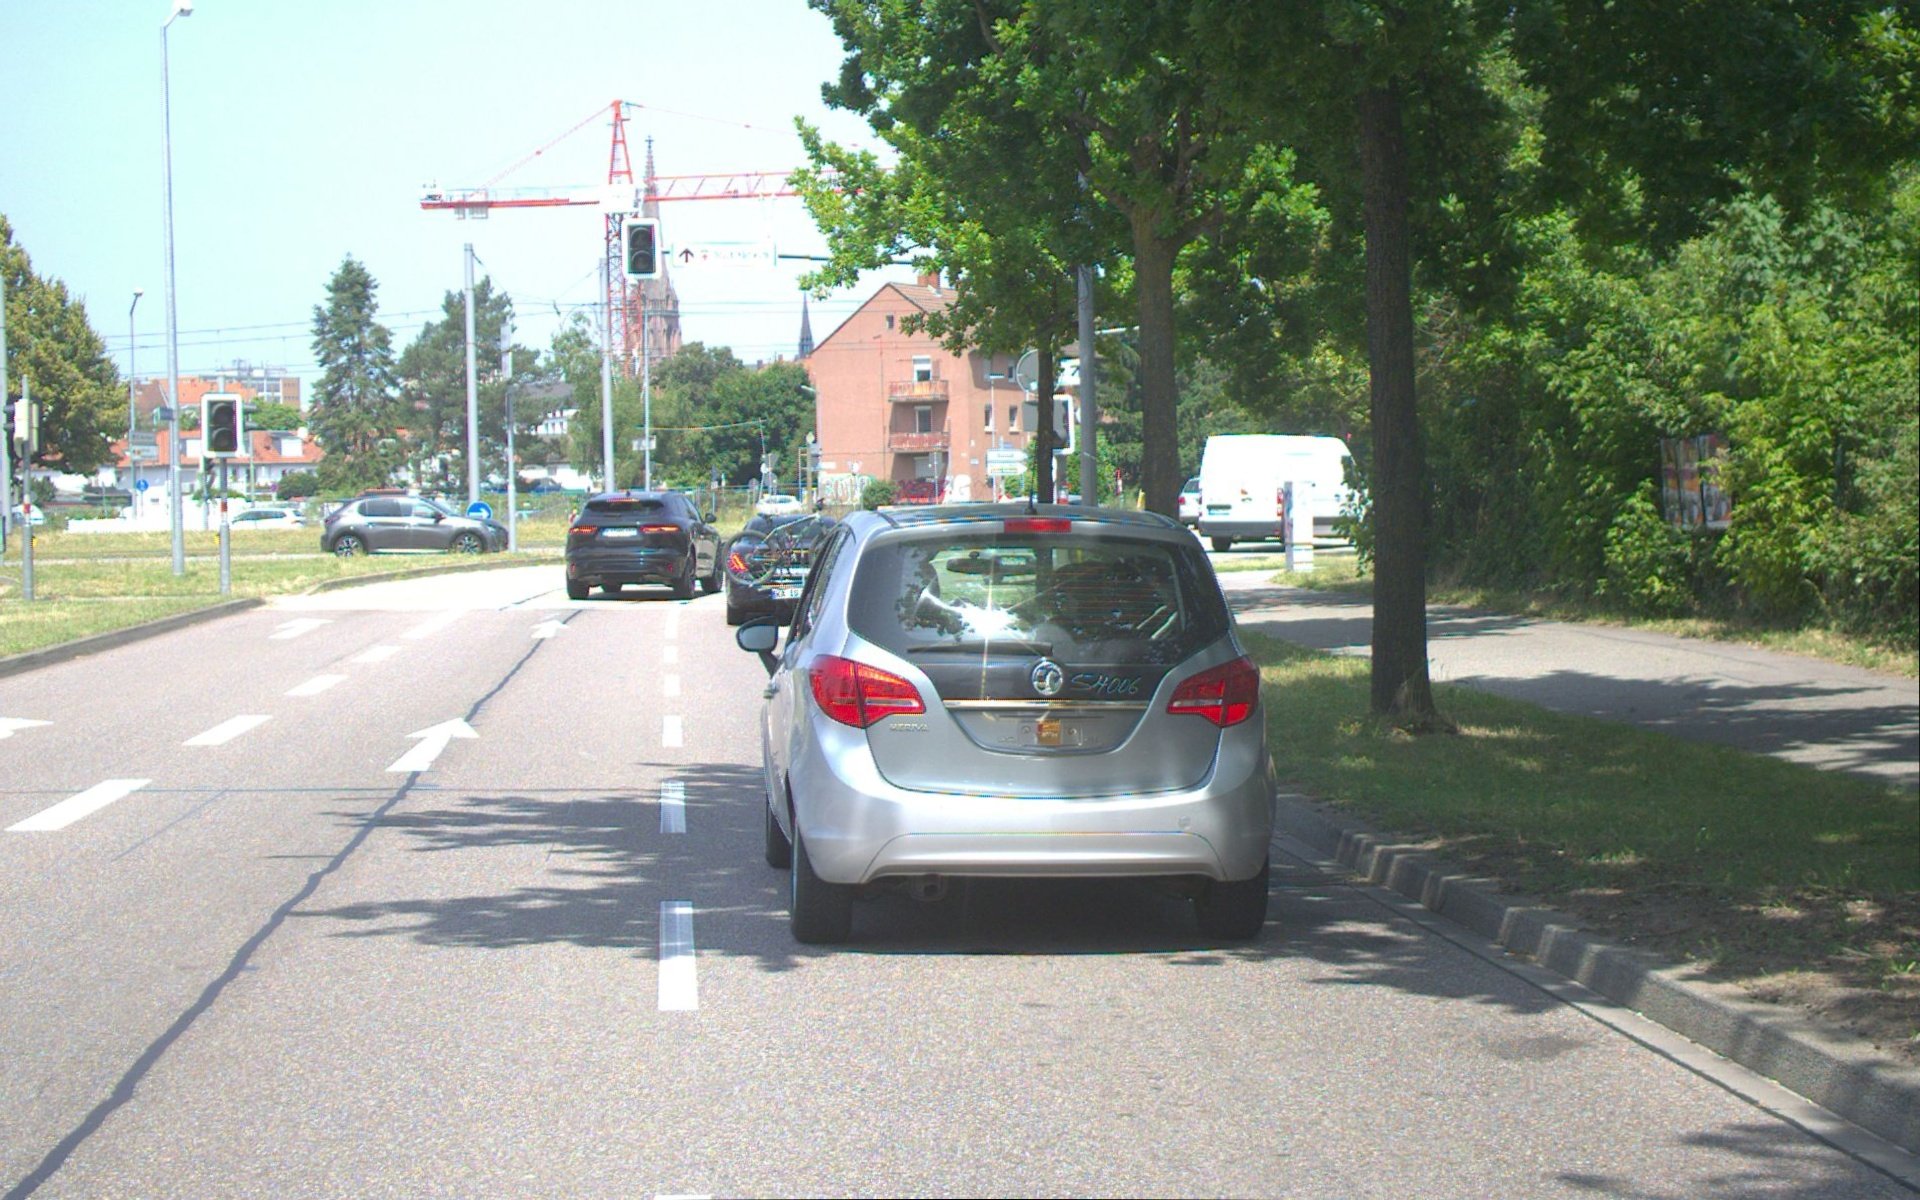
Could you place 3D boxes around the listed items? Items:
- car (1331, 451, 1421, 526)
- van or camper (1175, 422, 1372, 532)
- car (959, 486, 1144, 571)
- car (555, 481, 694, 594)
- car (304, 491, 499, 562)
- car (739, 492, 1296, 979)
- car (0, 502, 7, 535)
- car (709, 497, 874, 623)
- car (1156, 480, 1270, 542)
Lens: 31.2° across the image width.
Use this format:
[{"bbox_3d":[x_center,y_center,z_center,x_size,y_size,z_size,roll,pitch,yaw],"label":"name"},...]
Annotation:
[{"bbox_3d":[11.595,-3.116,95.684,1.995,2.006,3.998,-1,2,14],"label":"car"},{"bbox_3d":[6.889,-2.686,74.997,2.497,2.283,4.913,0,2,29],"label":"van or camper"},{"bbox_3d":[1.692,-1.316,62.348,1.947,1.437,3.995,0,2,24],"label":"car"},{"bbox_3d":[-5.214,-1.012,53.812,1.997,1.683,4.034,0,2,-3],"label":"car"},{"bbox_3d":[-12.166,-1.613,75.103,3.986,1.448,2.000,-1,2,-3],"label":"car"},{"bbox_3d":[0.077,0.393,13.538,1.792,1.606,3.892,-1,2,-5],"label":"car"},{"bbox_3d":[-39.789,-3.173,135.191,3.991,1.283,1.998,-1,2,20],"label":"car"},{"bbox_3d":[-2.204,-0.568,45.029,2.014,1.512,4.461,-1,2,-3],"label":"car"},{"bbox_3d":[7.021,-2.473,95.013,1.996,1.643,3.996,-1,2,22],"label":"car"}]
